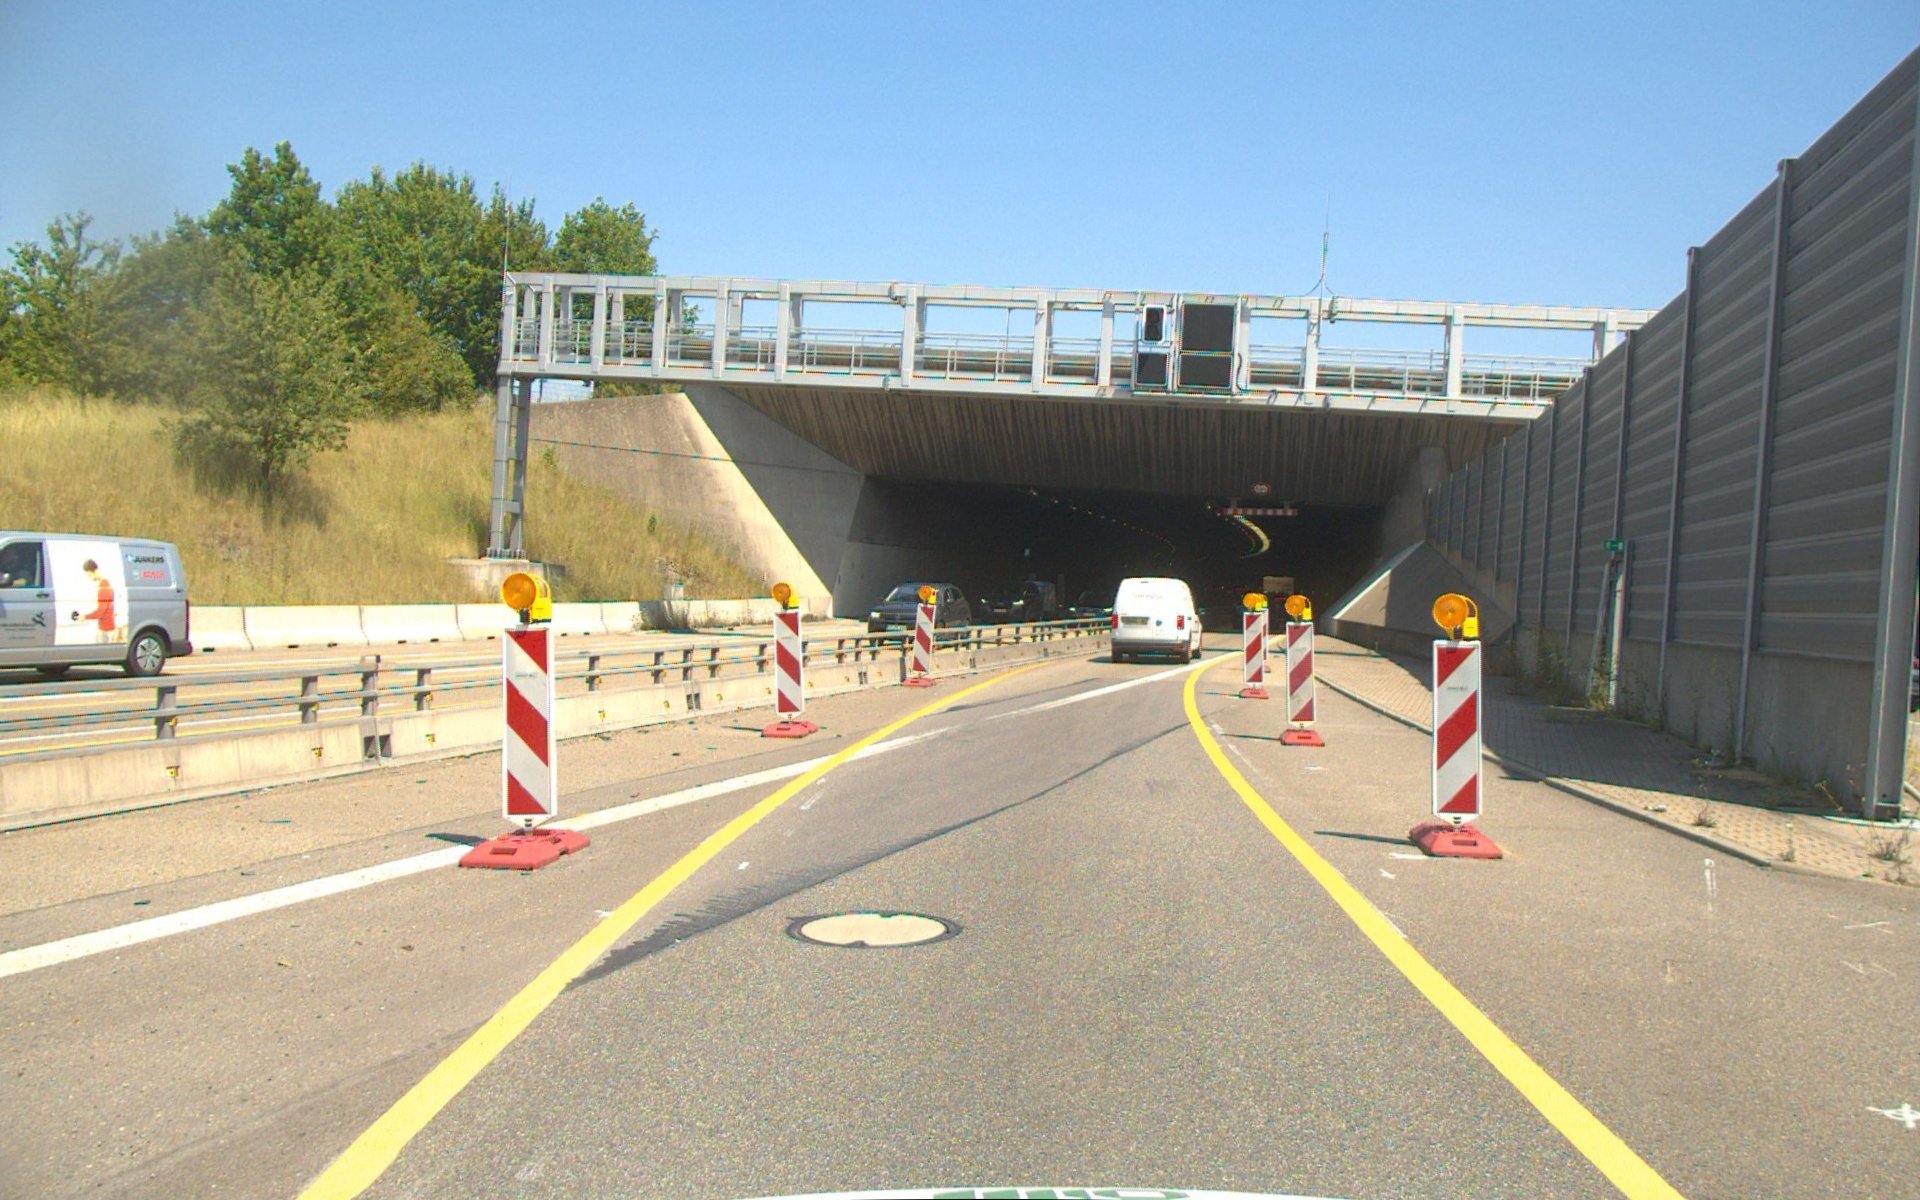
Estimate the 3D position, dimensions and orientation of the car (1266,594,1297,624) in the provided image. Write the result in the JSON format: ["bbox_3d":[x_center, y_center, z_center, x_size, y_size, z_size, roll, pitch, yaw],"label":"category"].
[{"bbox_3d":[20.234,0.540,104.327,1.770,1.781,4.413,2,0,10],"label":"car"}]

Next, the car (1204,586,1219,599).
[{"bbox_3d":[39.122,-1.190,257.486,2.029,2.056,4.665,1,1,4],"label":"car"}]

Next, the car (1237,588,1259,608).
[{"bbox_3d":[30.719,-0.204,176.511,1.899,2.056,4.665,1,1,4],"label":"car"}]

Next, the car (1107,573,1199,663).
[{"bbox_3d":[4.397,0.375,37.259,1.770,1.825,3.734,3,1,10],"label":"car"}]

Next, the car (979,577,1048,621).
[{"bbox_3d":[2.268,-0.076,68.413,1.736,1.757,4.871,1,1,16],"label":"car"}]

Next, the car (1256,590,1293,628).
[{"bbox_3d":[16.368,0.447,86.224,1.770,1.846,4.413,3,1,10],"label":"car"}]

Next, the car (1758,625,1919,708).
[{"bbox_3d":[19.943,1.460,37.088,1.952,1.511,4.680,5,1,3],"label":"car"}]

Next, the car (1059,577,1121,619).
[{"bbox_3d":[5.338,-0.122,67.129,1.736,1.621,4.990,1,1,14],"label":"car"}]

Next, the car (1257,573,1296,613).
[{"bbox_3d":[23.971,-0.468,125.590,2.754,2.822,7.107,2,-1,10],"label":"car"}]

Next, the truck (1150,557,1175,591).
[{"bbox_3d":[24.221,-3.130,197.820,2.750,3.984,6.461,1,1,8],"label":"truck"}]

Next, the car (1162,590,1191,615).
[{"bbox_3d":[14.675,0.123,111.830,1.735,1.605,4.450,1,1,10],"label":"car"}]

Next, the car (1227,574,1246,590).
[{"bbox_3d":[35.426,-2.280,211.765,1.899,2.056,4.665,1,1,4],"label":"car"}]

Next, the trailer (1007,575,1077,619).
[{"bbox_3d":[3.699,-0.175,73.410,1.905,1.837,5.527,1,1,16],"label":"trailer"}]

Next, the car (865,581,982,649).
[{"bbox_3d":[-0.858,0.355,42.198,1.706,1.621,4.230,1,0,17],"label":"car"}]

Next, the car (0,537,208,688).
[{"bbox_3d":[-12.313,0.150,21.805,1.651,1.866,4.790,1,0,16],"label":"car"}]

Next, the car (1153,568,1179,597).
[{"bbox_3d":[18.489,-1.582,148.166,1.951,2.559,6.047,1,1,10],"label":"car"}]

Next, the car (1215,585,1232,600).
[{"bbox_3d":[37.807,-1.094,237.194,2.029,2.056,4.665,1,1,4],"label":"car"}]

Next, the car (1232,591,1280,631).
[{"bbox_3d":[12.598,0.440,70.237,1.770,1.564,4.413,3,1,12],"label":"car"}]
